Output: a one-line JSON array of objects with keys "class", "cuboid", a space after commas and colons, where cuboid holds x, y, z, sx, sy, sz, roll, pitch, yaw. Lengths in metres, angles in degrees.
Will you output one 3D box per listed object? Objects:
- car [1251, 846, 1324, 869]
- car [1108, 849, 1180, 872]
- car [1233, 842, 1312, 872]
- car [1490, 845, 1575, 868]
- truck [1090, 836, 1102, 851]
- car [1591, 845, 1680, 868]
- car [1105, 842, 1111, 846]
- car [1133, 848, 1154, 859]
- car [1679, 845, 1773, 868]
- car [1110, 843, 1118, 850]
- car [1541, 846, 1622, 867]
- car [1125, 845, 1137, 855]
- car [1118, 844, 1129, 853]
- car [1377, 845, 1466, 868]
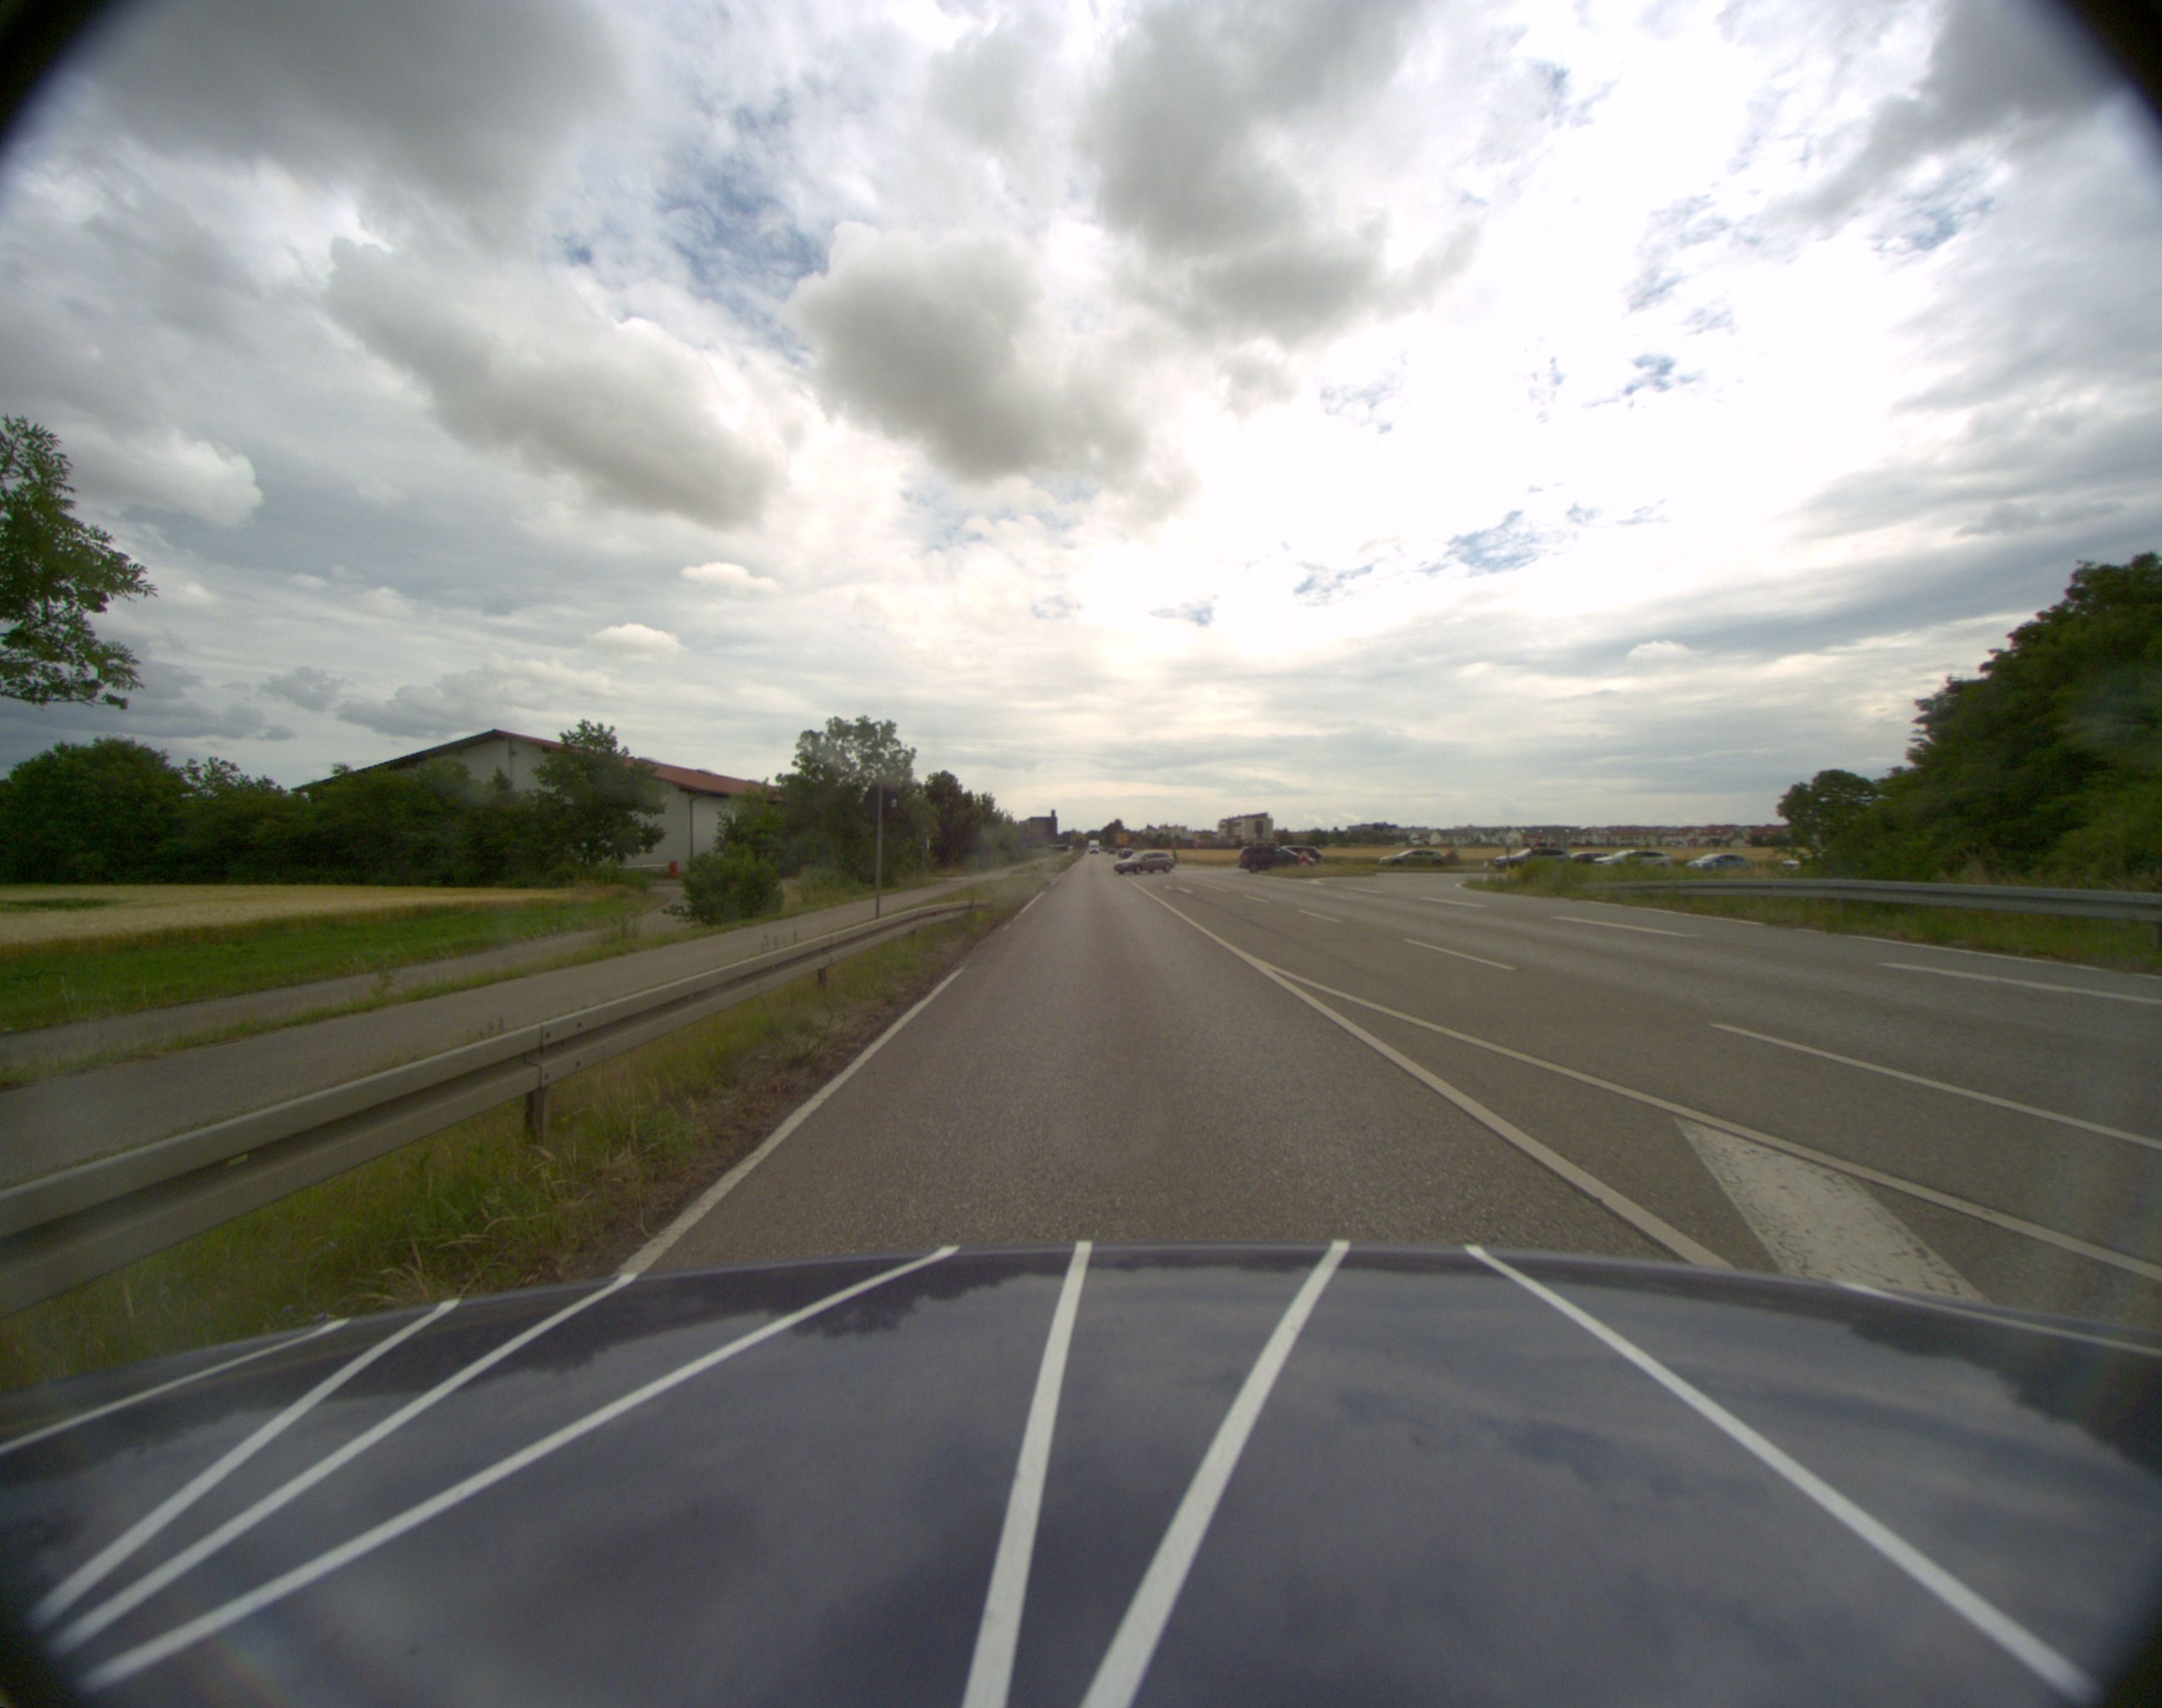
[{"class": "car", "cuboid": [14.476, 0.227, 53.449, 4.749, 1.523, 1.912, 0, 1, 7]}, {"class": "car", "cuboid": [4.163, 0.418, 50.056, 4.472, 1.416, 1.906, -1, 1, -32]}, {"class": "car", "cuboid": [11.466, 0.170, 45.605, 4.474, 1.602, 1.709, -2, 1, 13]}, {"class": "car", "cuboid": [30.917, 0.148, 52.091, 4.633, 1.508, 1.912, 0, 1, 7]}, {"class": "truck", "cuboid": [3.734, -2.574, 187.827, 2.813, 3.588, 11.218, -1, 1, 1]}, {"class": "car", "cuboid": [37.267, 0.145, 51.148, 4.500, 1.474, 1.912, 0, 1, 7]}, {"class": "car", "cuboid": [8.765, -3.219, 243.135, 1.740, 1.450, 4.130, -1, 1, -1]}, {"class": "car", "cuboid": [7.873, -0.061, 96.086, 2.170, 1.277, 4.236, -2, 1, 0]}, {"class": "car", "cuboid": [43.168, 0.179, 50.934, 4.500, 1.474, 1.912, 0, 1, 7]}, {"class": "car", "cuboid": [7.527, -1.819, 174.825, 1.683, 1.512, 4.395, -2, 1, 1]}, {"class": "car", "cuboid": [35.481, 0.178, 53.979, 4.406, 1.474, 1.912, 0, 1, 7]}, {"class": "car", "cuboid": [7.559, -0.631, 114.578, 1.746, 1.521, 4.200, -1, 1, 5]}, {"class": "car", "cuboid": [7.356, -0.929, 131.897, 1.665, 1.475, 3.168, -2, 1, 0]}, {"class": "car", "cuboid": [23.662, 0.165, 52.981, 5.295, 1.512, 1.912, 0, 1, 7]}]
